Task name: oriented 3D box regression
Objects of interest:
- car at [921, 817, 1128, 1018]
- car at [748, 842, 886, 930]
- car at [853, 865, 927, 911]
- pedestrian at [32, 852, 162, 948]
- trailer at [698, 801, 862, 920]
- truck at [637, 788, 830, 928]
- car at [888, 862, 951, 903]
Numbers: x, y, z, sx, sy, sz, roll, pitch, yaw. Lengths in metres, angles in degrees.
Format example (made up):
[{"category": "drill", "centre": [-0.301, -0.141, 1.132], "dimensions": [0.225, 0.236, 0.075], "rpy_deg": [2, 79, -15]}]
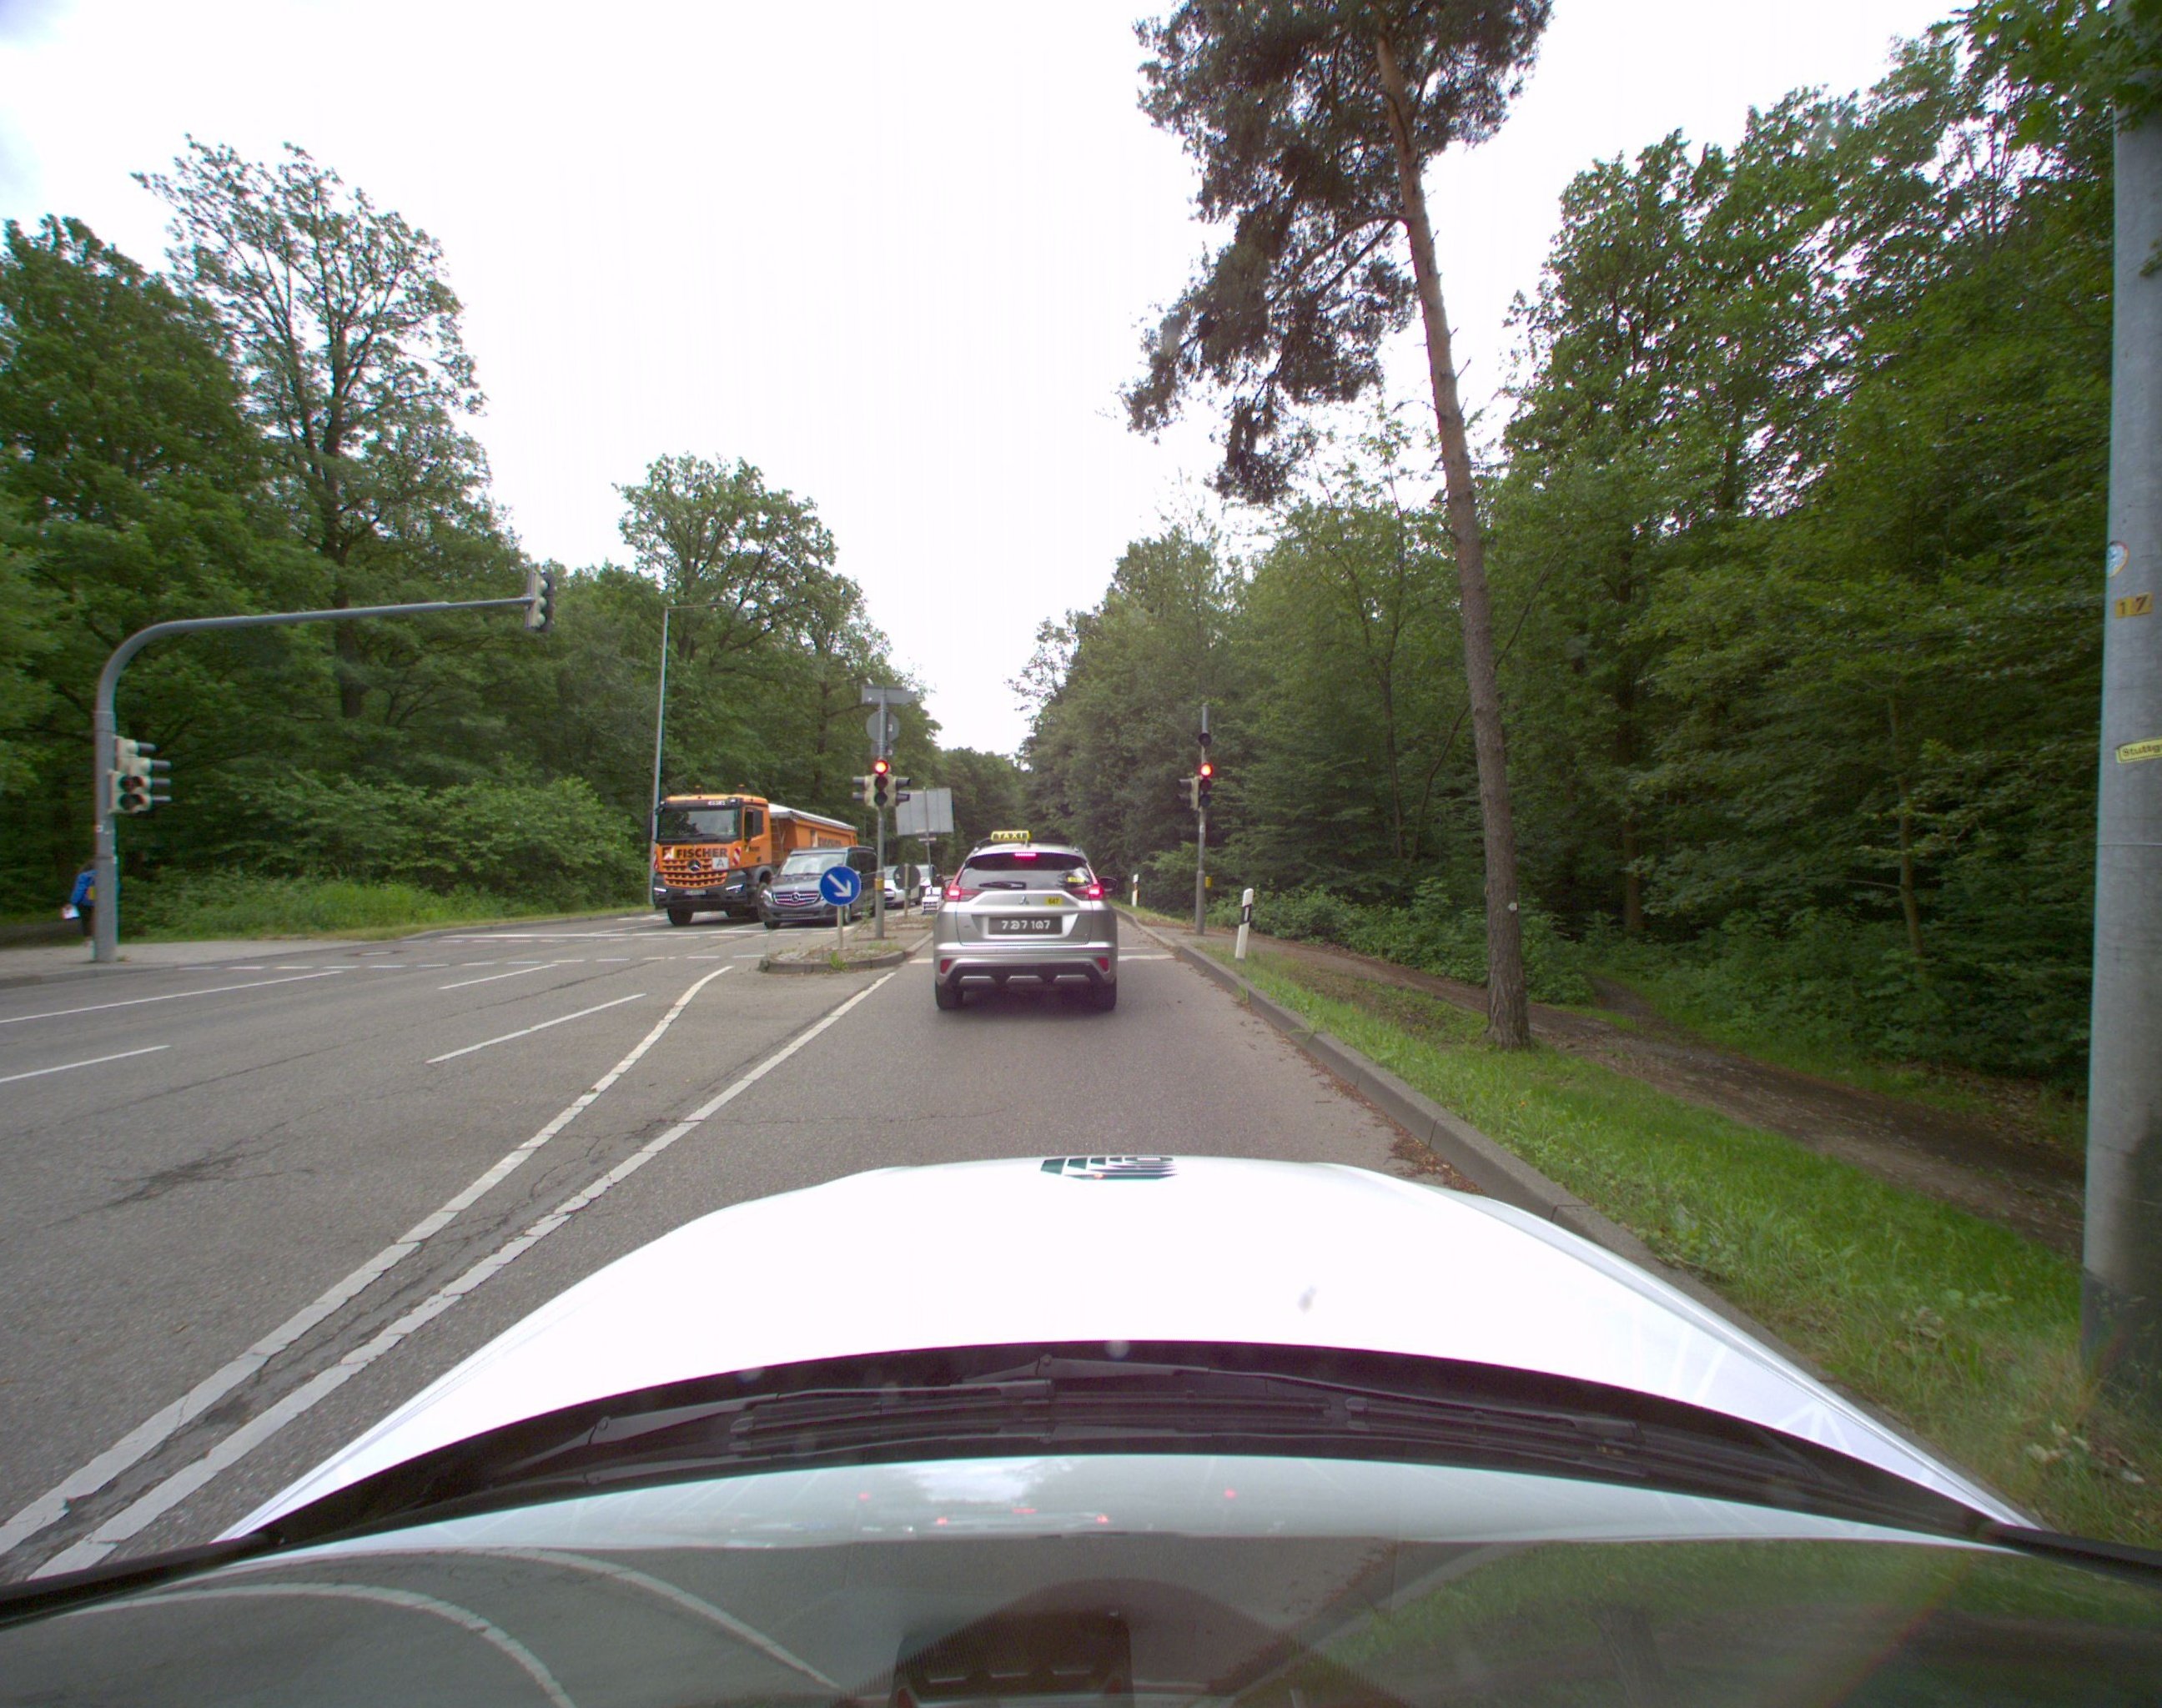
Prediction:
[{"category": "car", "centre": [-0.614, 0.571, 9.273], "dimensions": [1.843, 1.780, 3.995], "rpy_deg": [0, 0, -4]}, {"category": "car", "centre": [-6.470, 0.746, 20.574], "dimensions": [1.988, 1.894, 4.835], "rpy_deg": [-2, -1, -2]}, {"category": "car", "centre": [-6.432, 1.111, 27.774], "dimensions": [1.607, 1.321, 3.720], "rpy_deg": [-3, 0, -1]}, {"category": "pedestrian", "centre": [-18.194, 0.825, 15.090], "dimensions": [1.042, 1.649, 1.070], "rpy_deg": [3, 1, 4]}, {"category": "trailer", "centre": [-9.750, 0.256, 27.579], "dimensions": [2.733, 3.318, 8.558], "rpy_deg": [-2, -1, -3]}, {"category": "truck", "centre": [-9.513, 0.167, 23.296], "dimensions": [2.733, 3.318, 7.150], "rpy_deg": [-2, -1, -3]}, {"category": "car", "centre": [-6.631, 1.135, 33.805], "dimensions": [1.806, 1.508, 3.720], "rpy_deg": [-3, -1, -1]}]
